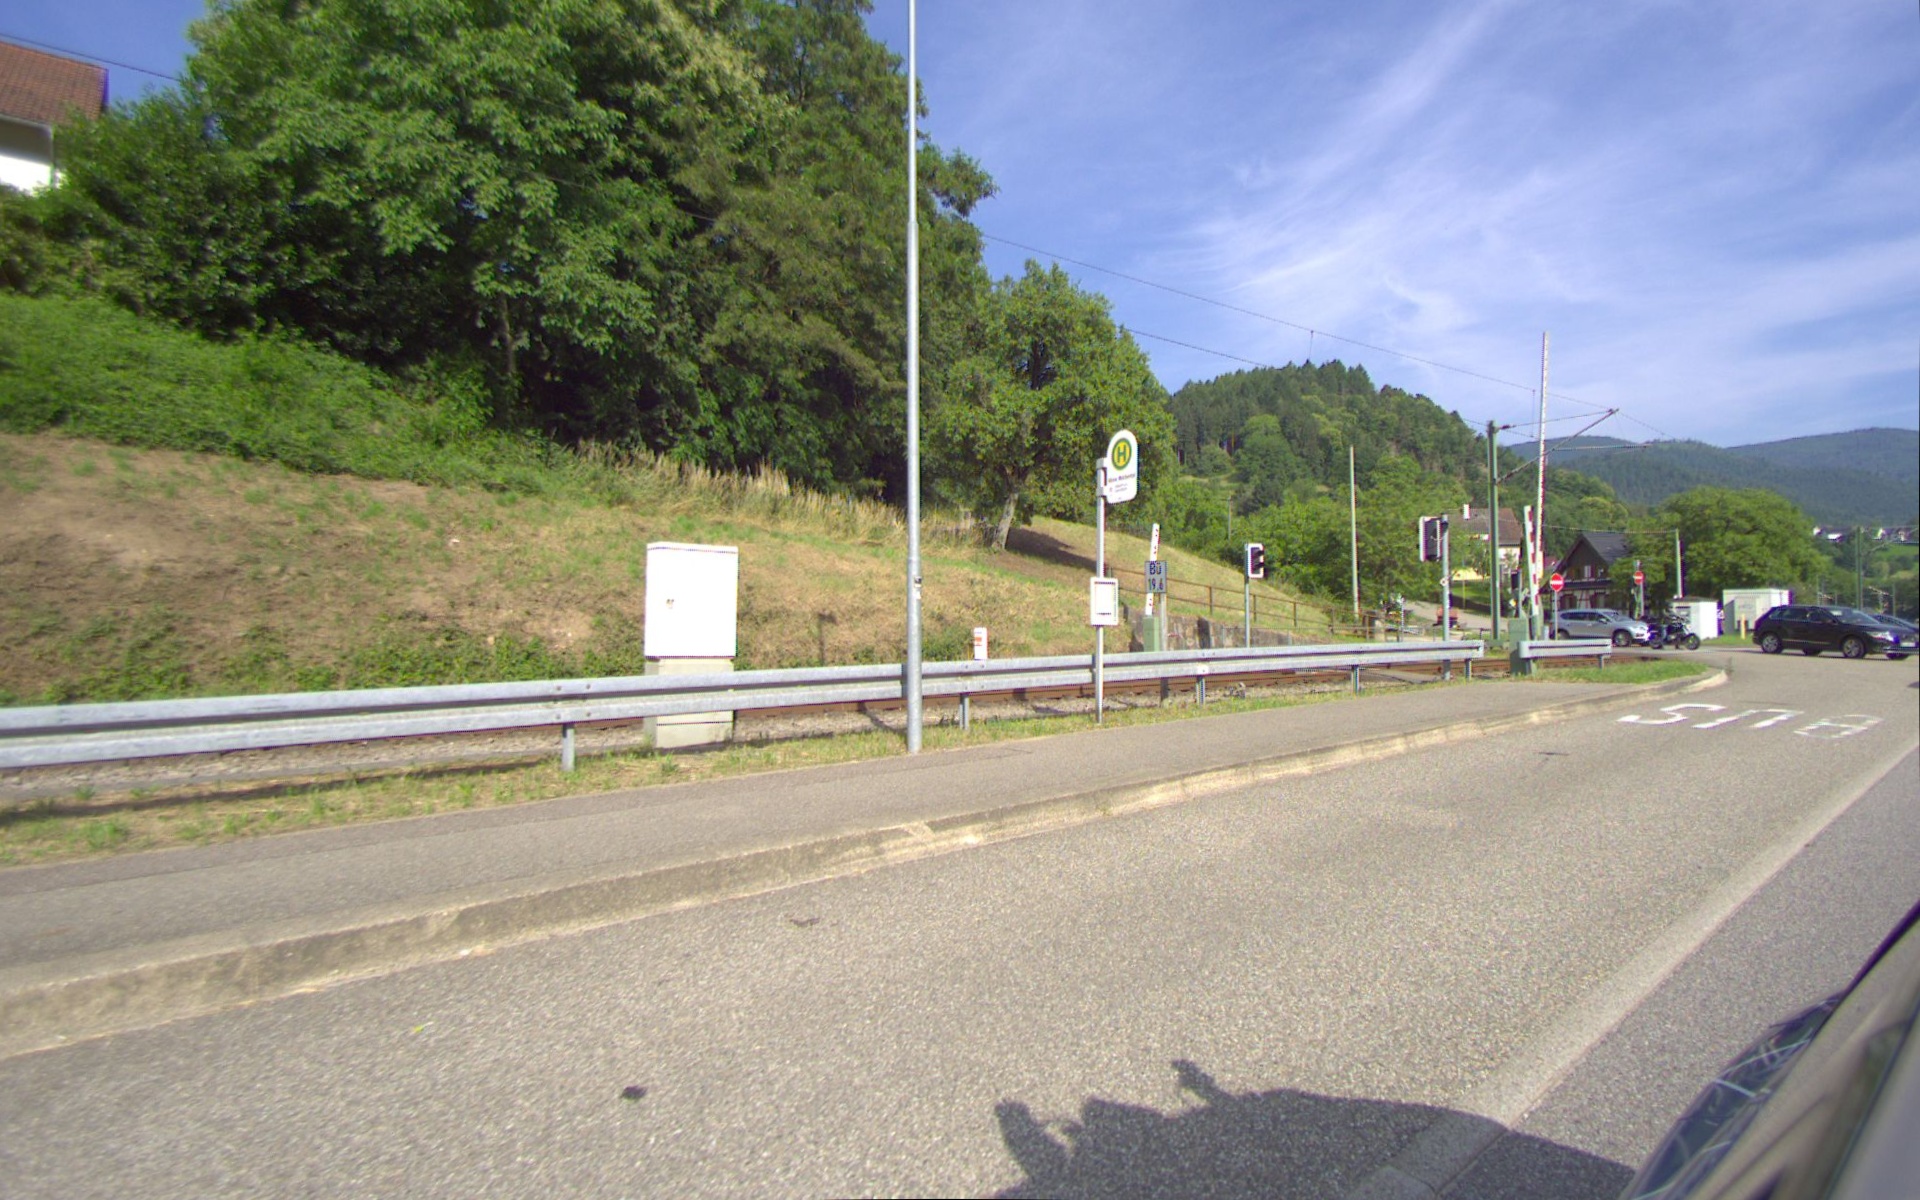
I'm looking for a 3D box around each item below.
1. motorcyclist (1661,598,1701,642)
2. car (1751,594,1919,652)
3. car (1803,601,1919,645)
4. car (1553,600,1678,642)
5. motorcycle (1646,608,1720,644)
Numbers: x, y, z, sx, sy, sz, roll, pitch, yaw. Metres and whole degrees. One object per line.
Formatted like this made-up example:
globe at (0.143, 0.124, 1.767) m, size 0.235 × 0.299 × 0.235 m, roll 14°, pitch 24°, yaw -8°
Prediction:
motorcyclist at (26.620, 0.740, 37.365) m, size 0.749 × 1.617 × 0.911 m, roll 1°, pitch -2°, yaw -23°
car at (28.121, 0.687, 32.116) m, size 1.891 × 1.681 × 4.748 m, roll 1°, pitch 0°, yaw -9°
car at (33.007, 0.798, 35.730) m, size 1.807 × 1.488 × 4.739 m, roll 1°, pitch 0°, yaw -37°
car at (27.940, 0.904, 43.273) m, size 1.797 × 1.709 × 4.131 m, roll 1°, pitch -2°, yaw -26°
motorcycle at (26.627, 0.964, 37.331) m, size 0.782 × 1.271 × 2.103 m, roll 0°, pitch -2°, yaw -22°
